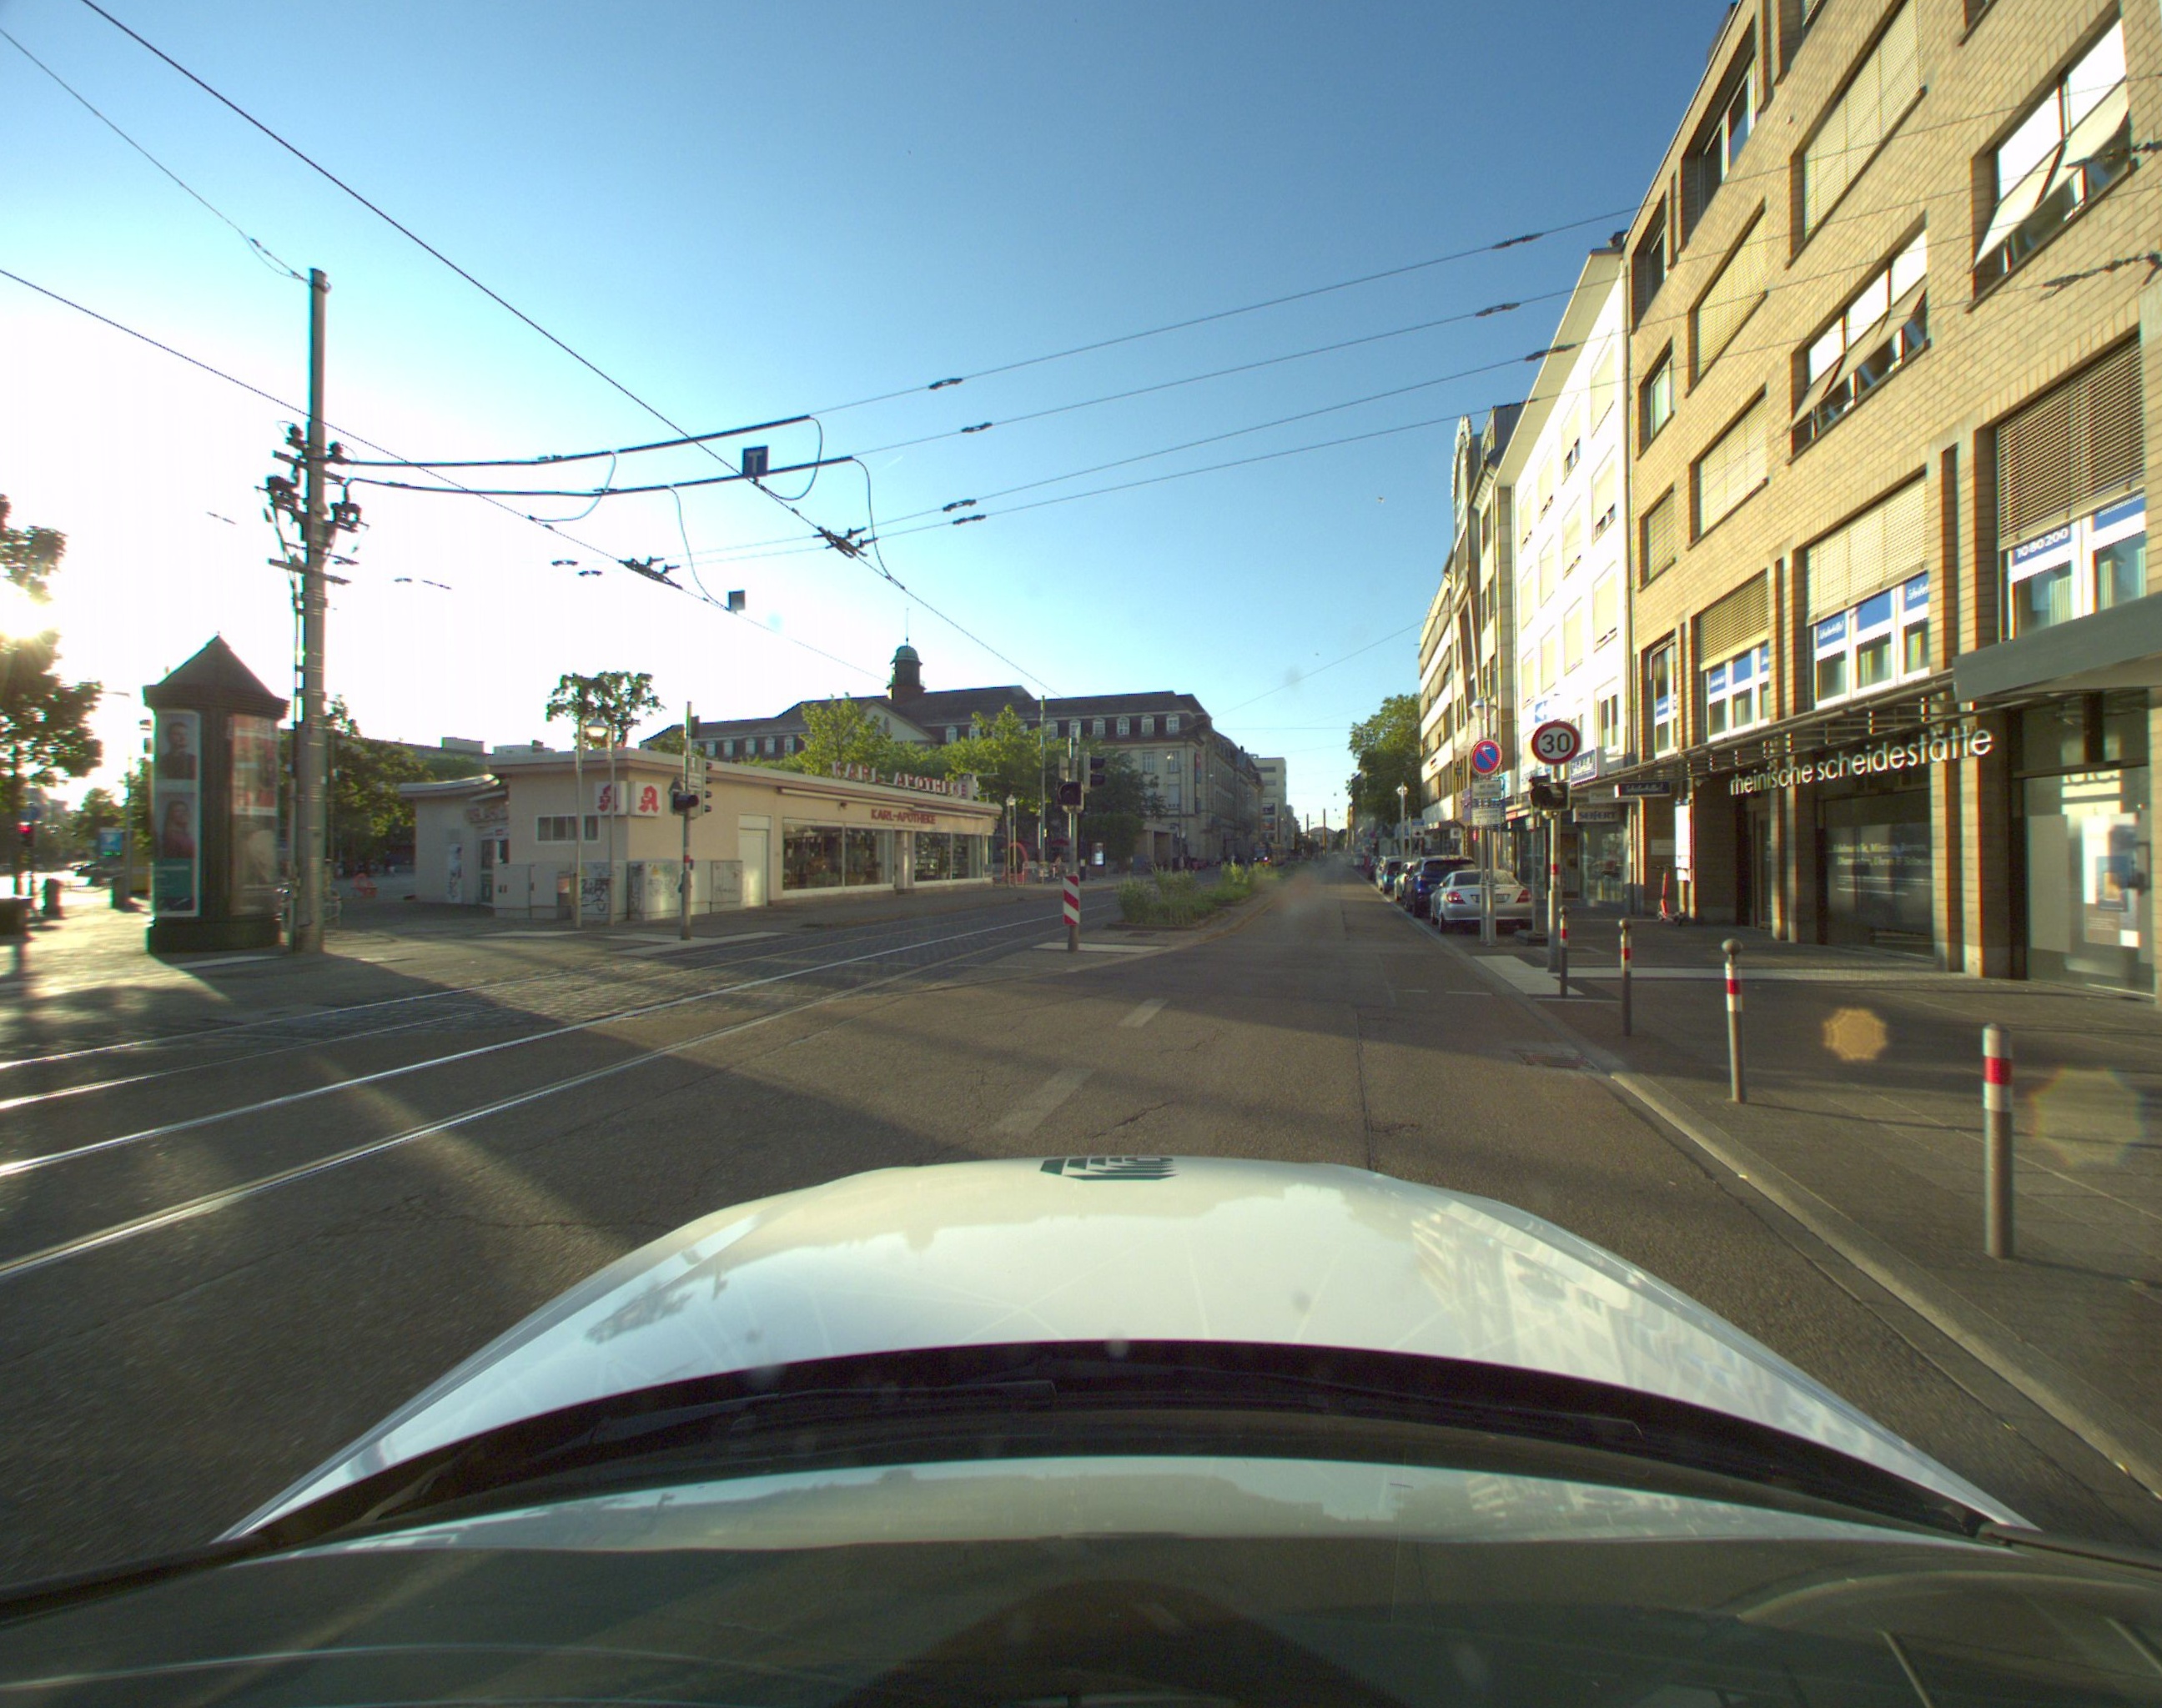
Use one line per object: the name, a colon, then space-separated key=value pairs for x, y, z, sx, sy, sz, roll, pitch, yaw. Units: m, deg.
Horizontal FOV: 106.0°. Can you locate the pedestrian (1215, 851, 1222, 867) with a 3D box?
pedestrian: x=16.134 y=0.603 z=95.522 sx=0.687 sy=1.847 sz=0.664 roll=-1 pitch=-2 yaw=18

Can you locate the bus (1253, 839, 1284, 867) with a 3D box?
bus: x=26.749 y=-0.152 z=115.507 sx=2.800 sy=3.651 sz=17.151 roll=-1 pitch=0 yaw=18

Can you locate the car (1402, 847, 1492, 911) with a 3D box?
car: x=9.980 y=0.626 z=22.475 sx=1.751 sy=1.605 sz=4.306 roll=-1 pitch=0 yaw=17

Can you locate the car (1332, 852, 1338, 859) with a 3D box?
car: x=72.369 y=0.408 z=232.115 sx=1.747 sy=1.827 sz=3.586 roll=-1 pitch=-2 yaw=18

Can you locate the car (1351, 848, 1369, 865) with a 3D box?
car: x=33.564 y=0.340 z=98.003 sx=1.900 sy=1.981 sz=4.441 roll=-1 pitch=-1 yaw=18

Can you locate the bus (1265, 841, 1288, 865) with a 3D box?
bus: x=30.706 y=-0.162 z=127.607 sx=2.800 sy=3.624 sz=8.328 roll=-1 pitch=0 yaw=18

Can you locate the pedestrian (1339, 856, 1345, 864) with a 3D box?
pedestrian: x=66.942 y=1.492 z=208.714 sx=1.224 sy=1.928 sz=1.022 roll=0 pitch=0 yaw=2

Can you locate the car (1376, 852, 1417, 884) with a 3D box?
car: x=16.399 y=0.705 z=42.515 sx=1.802 sy=1.585 sz=4.745 roll=0 pitch=0 yaw=19

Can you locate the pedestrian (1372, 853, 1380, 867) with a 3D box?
pedestrian: x=37.503 y=0.815 z=103.606 sx=0.781 sy=1.751 sz=0.897 roll=0 pitch=-2 yaw=11

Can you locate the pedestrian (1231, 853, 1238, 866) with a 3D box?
pedestrian: x=20.580 y=0.688 z=109.004 sx=0.808 sy=1.707 sz=0.765 roll=-1 pitch=-2 yaw=18

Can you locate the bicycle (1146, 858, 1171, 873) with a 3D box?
bicycle: x=6.932 y=1.037 z=72.866 sx=2.223 sy=1.255 sz=0.582 roll=-1 pitch=-2 yaw=17

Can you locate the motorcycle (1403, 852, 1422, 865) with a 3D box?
motorcycle: x=30.136 y=0.437 z=74.050 sx=0.564 sy=1.145 sz=2.290 roll=0 pitch=0 yaw=-8

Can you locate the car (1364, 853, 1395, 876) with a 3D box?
car: x=20.133 y=0.700 z=55.012 sx=1.642 sy=1.380 sz=4.360 roll=-4 pitch=-1 yaw=17

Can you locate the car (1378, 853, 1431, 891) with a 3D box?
car: x=14.393 y=0.760 z=36.415 sx=1.795 sy=1.552 sz=4.857 roll=0 pitch=0 yaw=17

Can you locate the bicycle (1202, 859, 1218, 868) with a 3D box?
bicycle: x=17.202 y=1.224 z=108.586 sx=2.082 sy=1.148 sz=0.576 roll=0 pitch=-2 yaw=13

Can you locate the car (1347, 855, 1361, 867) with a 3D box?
car: x=40.844 y=1.080 z=121.957 sx=1.978 sy=1.761 sz=4.441 roll=-1 pitch=-1 yaw=18

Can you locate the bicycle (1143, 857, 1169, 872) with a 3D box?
bicycle: x=6.582 y=0.952 z=71.370 sx=2.179 sy=1.300 sz=0.582 roll=-1 pitch=-2 yaw=17

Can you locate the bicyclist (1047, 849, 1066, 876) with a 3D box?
bicyclist: x=-1.611 y=0.567 z=53.886 sx=0.934 sy=1.776 sz=0.962 roll=0 pitch=0 yaw=-26

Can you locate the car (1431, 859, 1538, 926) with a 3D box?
car: x=8.679 y=0.764 z=17.807 sx=1.660 sy=1.282 sz=4.084 roll=-1 pitch=-1 yaw=20

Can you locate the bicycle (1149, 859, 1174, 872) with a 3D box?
bicycle: x=7.334 y=1.058 z=74.442 sx=2.223 sy=1.232 sz=0.587 roll=-1 pitch=-1 yaw=17

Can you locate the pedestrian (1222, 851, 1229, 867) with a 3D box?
pedestrian: x=16.891 y=0.556 z=95.421 sx=0.727 sy=1.841 sz=0.718 roll=-1 pitch=-2 yaw=18

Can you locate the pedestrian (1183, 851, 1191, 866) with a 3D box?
pedestrian: x=12.107 y=0.504 z=93.019 sx=0.713 sy=1.646 sz=0.659 roll=1 pitch=0 yaw=-4

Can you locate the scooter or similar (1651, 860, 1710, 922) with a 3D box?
scooter or similar: x=12.156 y=0.722 z=16.543 sx=0.456 sy=1.183 sz=1.579 roll=-1 pitch=0 yaw=17

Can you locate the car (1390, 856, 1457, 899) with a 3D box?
car: x=12.063 y=0.832 z=28.902 sx=1.717 sy=1.435 sz=4.169 roll=-1 pitch=-2 yaw=16

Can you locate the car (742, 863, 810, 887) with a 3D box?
car: x=-20.615 y=1.425 z=55.279 sx=1.784 sy=1.565 sz=4.701 roll=-1 pitch=-2 yaw=18

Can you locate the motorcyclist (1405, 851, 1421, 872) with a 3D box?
motorcyclist: x=28.454 y=0.668 z=69.809 sx=1.000 sy=1.814 sz=0.958 roll=0 pitch=-2 yaw=-4

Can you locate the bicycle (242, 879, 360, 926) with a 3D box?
bicycle: x=-18.905 y=1.153 z=19.800 sx=2.037 sy=1.044 sz=0.553 roll=0 pitch=-1 yaw=-41

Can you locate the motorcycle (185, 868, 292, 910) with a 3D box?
motorcycle: x=-25.900 y=1.049 z=25.110 sx=2.254 sy=1.201 sz=0.711 roll=0 pitch=0 yaw=-43

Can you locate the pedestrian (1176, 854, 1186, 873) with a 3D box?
pedestrian: x=9.886 y=0.941 z=80.482 sx=0.718 sy=1.934 sz=0.796 roll=-1 pitch=-2 yaw=21

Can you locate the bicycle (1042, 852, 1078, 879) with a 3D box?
bicycle: x=-1.397 y=0.770 z=53.994 sx=2.372 sy=1.740 sz=0.598 roll=0 pitch=0 yaw=-26

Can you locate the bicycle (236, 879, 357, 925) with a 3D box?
bicycle: x=-19.679 y=1.189 z=20.495 sx=2.165 sy=1.043 sz=0.553 roll=0 pitch=-1 yaw=-41
